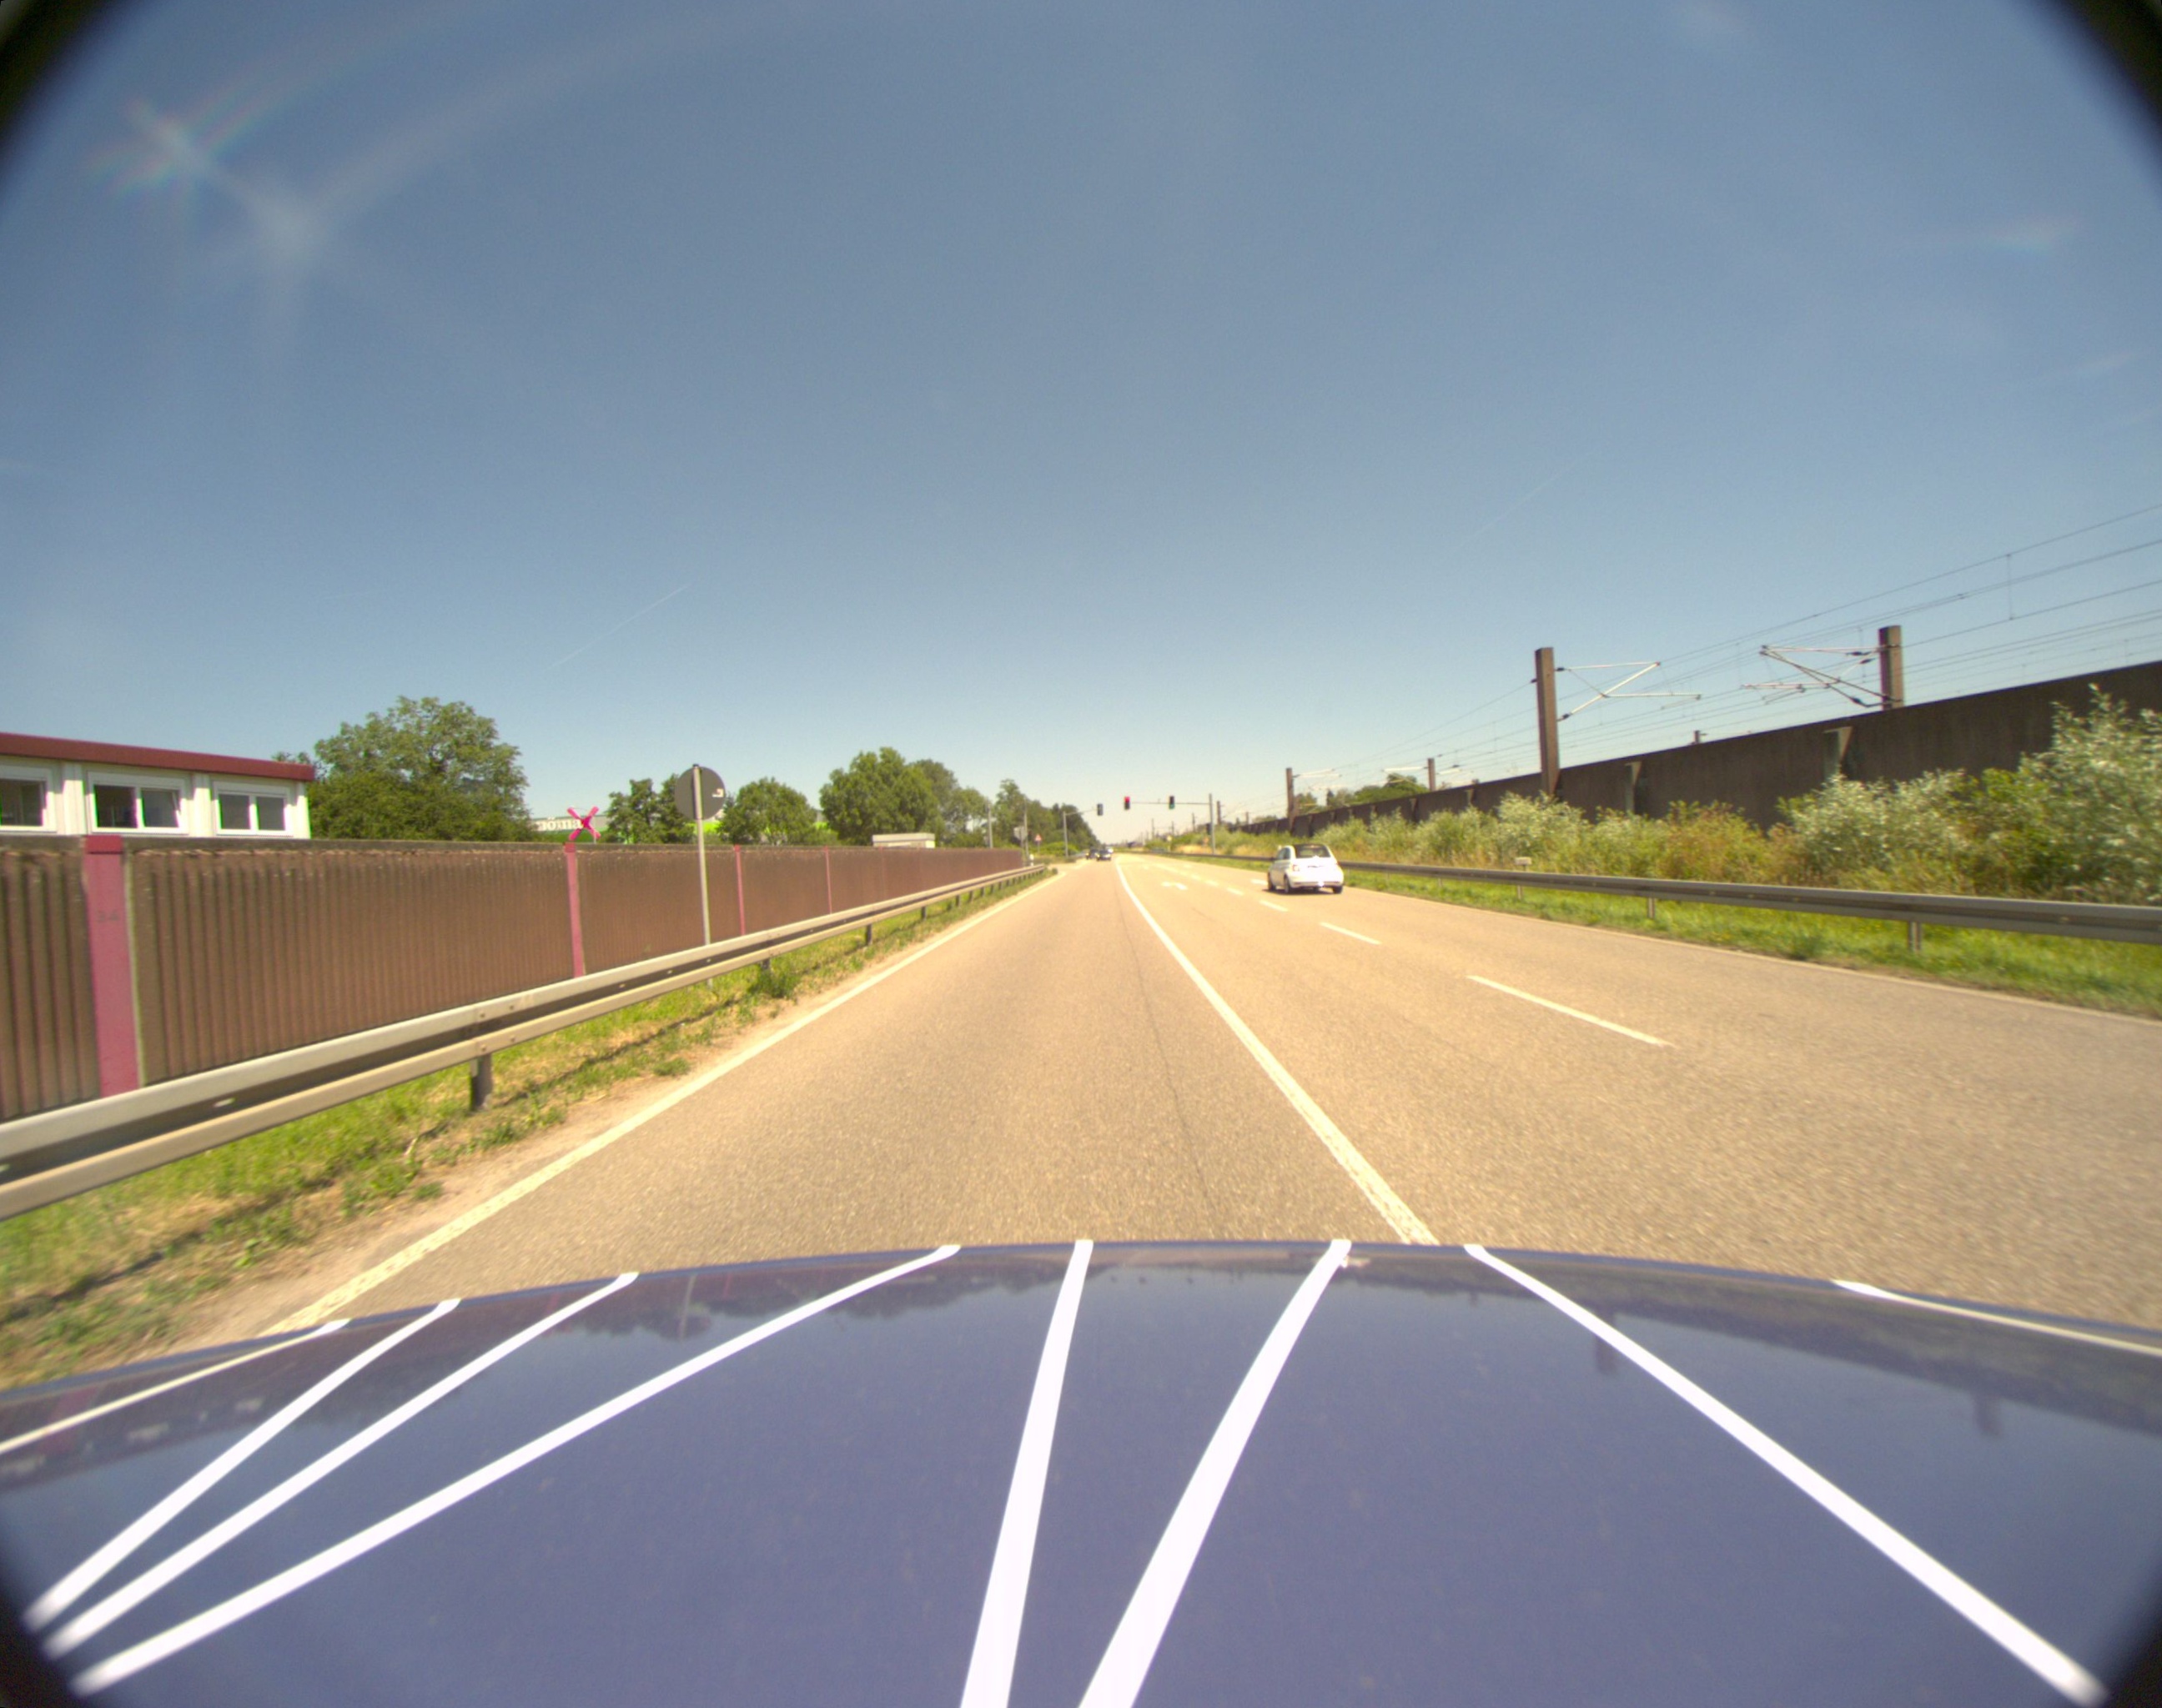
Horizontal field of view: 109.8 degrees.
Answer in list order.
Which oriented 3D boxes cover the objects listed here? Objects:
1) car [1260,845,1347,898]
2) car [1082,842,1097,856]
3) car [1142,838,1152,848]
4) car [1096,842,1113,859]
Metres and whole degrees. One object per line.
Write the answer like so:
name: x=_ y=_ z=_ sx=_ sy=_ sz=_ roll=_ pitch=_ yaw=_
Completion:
car: x=6.794 y=0.481 z=23.557 sx=1.599 sy=1.466 sz=3.773 roll=-2 pitch=1 yaw=1
car: x=1.286 y=-0.700 z=113.089 sx=1.998 sy=2.002 sz=4.001 roll=-2 pitch=1 yaw=4
car: x=15.002 y=-2.464 z=172.067 sx=1.998 sy=2.002 sz=4.000 roll=-2 pitch=1 yaw=1
car: x=2.935 y=-0.453 z=96.242 sx=1.998 sy=2.002 sz=3.999 roll=-2 pitch=1 yaw=1
